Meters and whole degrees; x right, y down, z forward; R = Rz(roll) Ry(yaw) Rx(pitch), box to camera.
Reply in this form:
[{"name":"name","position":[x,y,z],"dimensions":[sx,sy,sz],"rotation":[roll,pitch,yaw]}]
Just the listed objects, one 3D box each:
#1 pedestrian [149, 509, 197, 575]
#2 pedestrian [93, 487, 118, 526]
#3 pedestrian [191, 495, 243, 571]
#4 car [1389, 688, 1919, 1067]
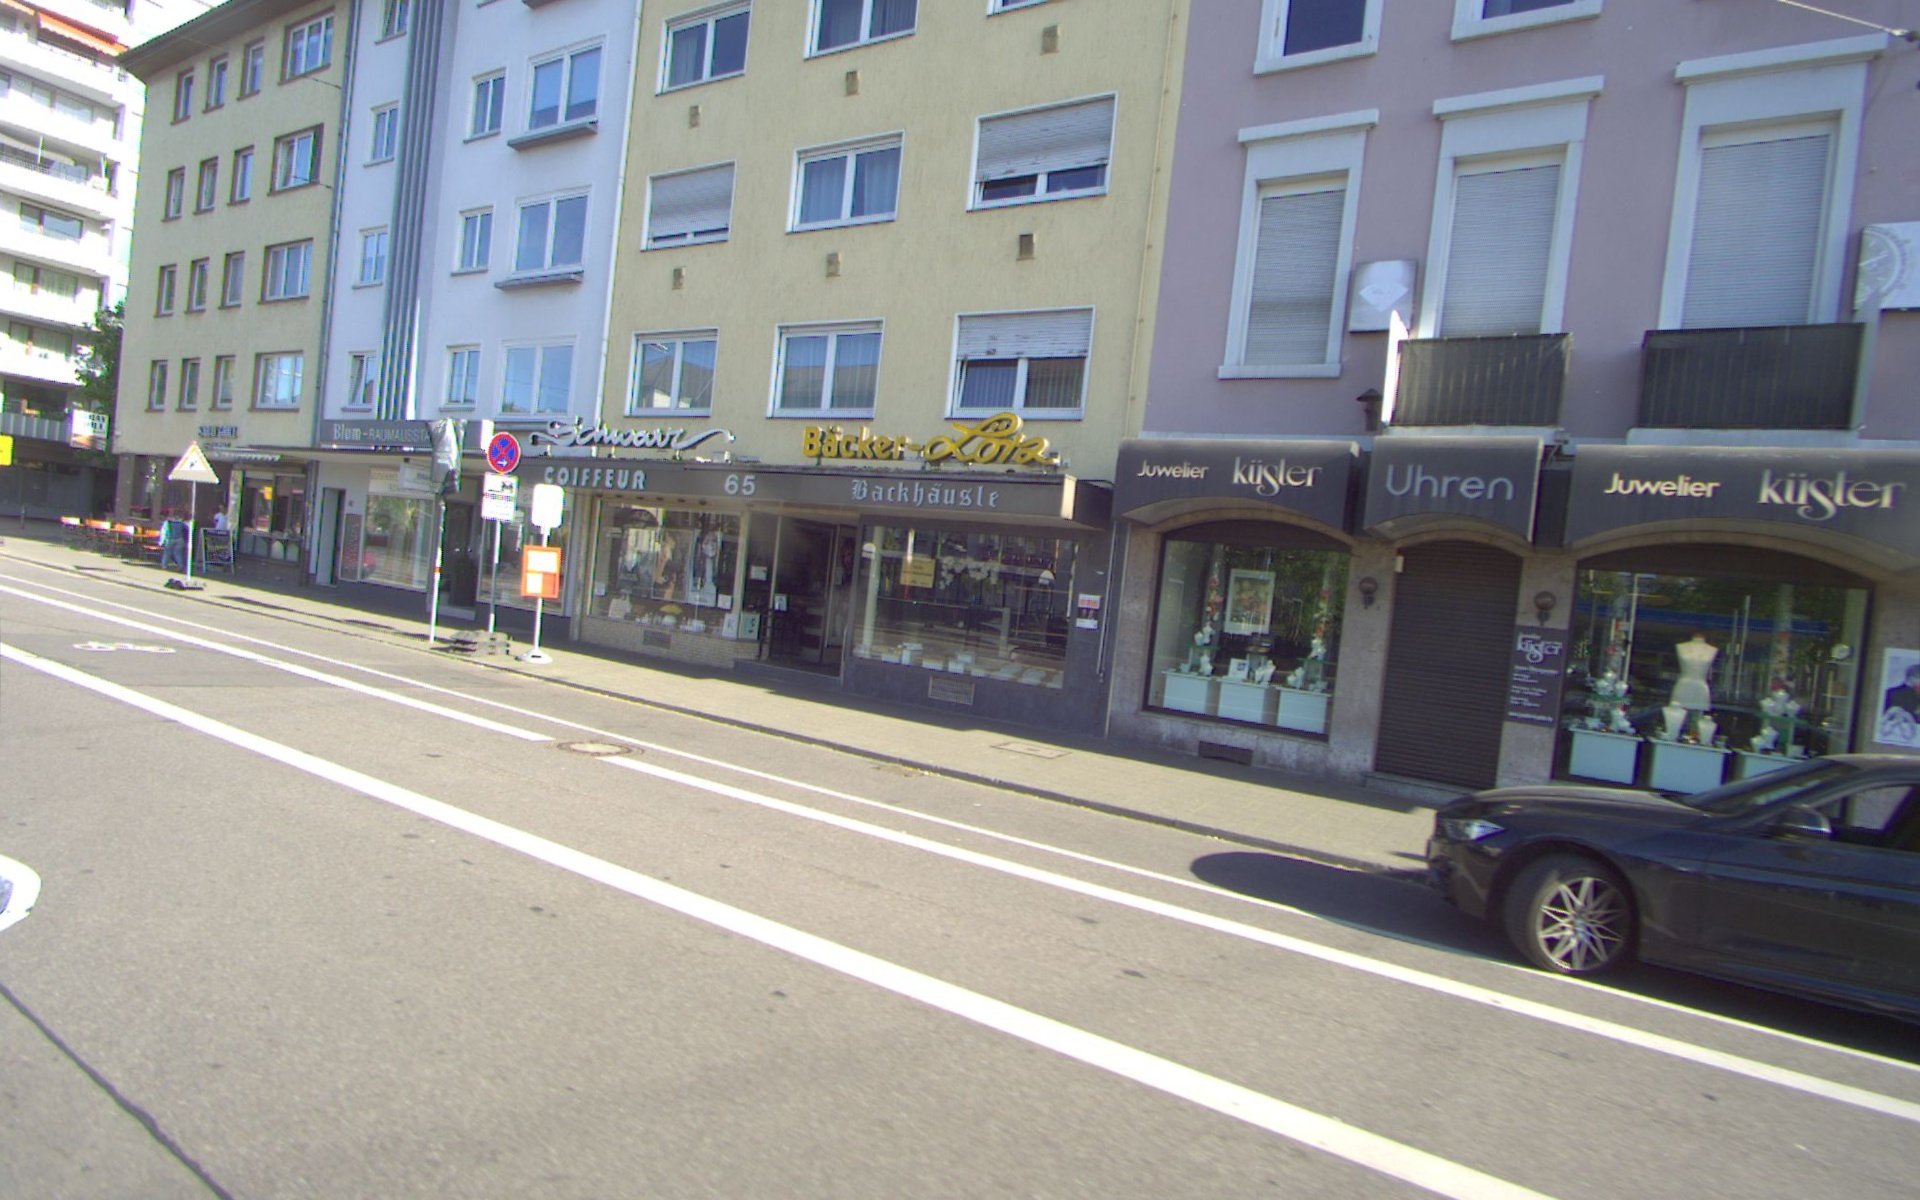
[{"name":"pedestrian","position":[-19.543,-1.442,24.988],"dimensions":[0.641,1.525,0.671],"rotation":[7,1,32]},{"name":"pedestrian","position":[-44.393,-4.862,52.283],"dimensions":[0.667,1.876,0.656],"rotation":[7,-1,34]},{"name":"pedestrian","position":[-19.630,-1.758,26.571],"dimensions":[0.886,1.878,0.729],"rotation":[7,1,34]},{"name":"car","position":[5.028,1.540,5.495],"dimensions":[4.637,1.446,1.903],"rotation":[7,-1,30]}]
